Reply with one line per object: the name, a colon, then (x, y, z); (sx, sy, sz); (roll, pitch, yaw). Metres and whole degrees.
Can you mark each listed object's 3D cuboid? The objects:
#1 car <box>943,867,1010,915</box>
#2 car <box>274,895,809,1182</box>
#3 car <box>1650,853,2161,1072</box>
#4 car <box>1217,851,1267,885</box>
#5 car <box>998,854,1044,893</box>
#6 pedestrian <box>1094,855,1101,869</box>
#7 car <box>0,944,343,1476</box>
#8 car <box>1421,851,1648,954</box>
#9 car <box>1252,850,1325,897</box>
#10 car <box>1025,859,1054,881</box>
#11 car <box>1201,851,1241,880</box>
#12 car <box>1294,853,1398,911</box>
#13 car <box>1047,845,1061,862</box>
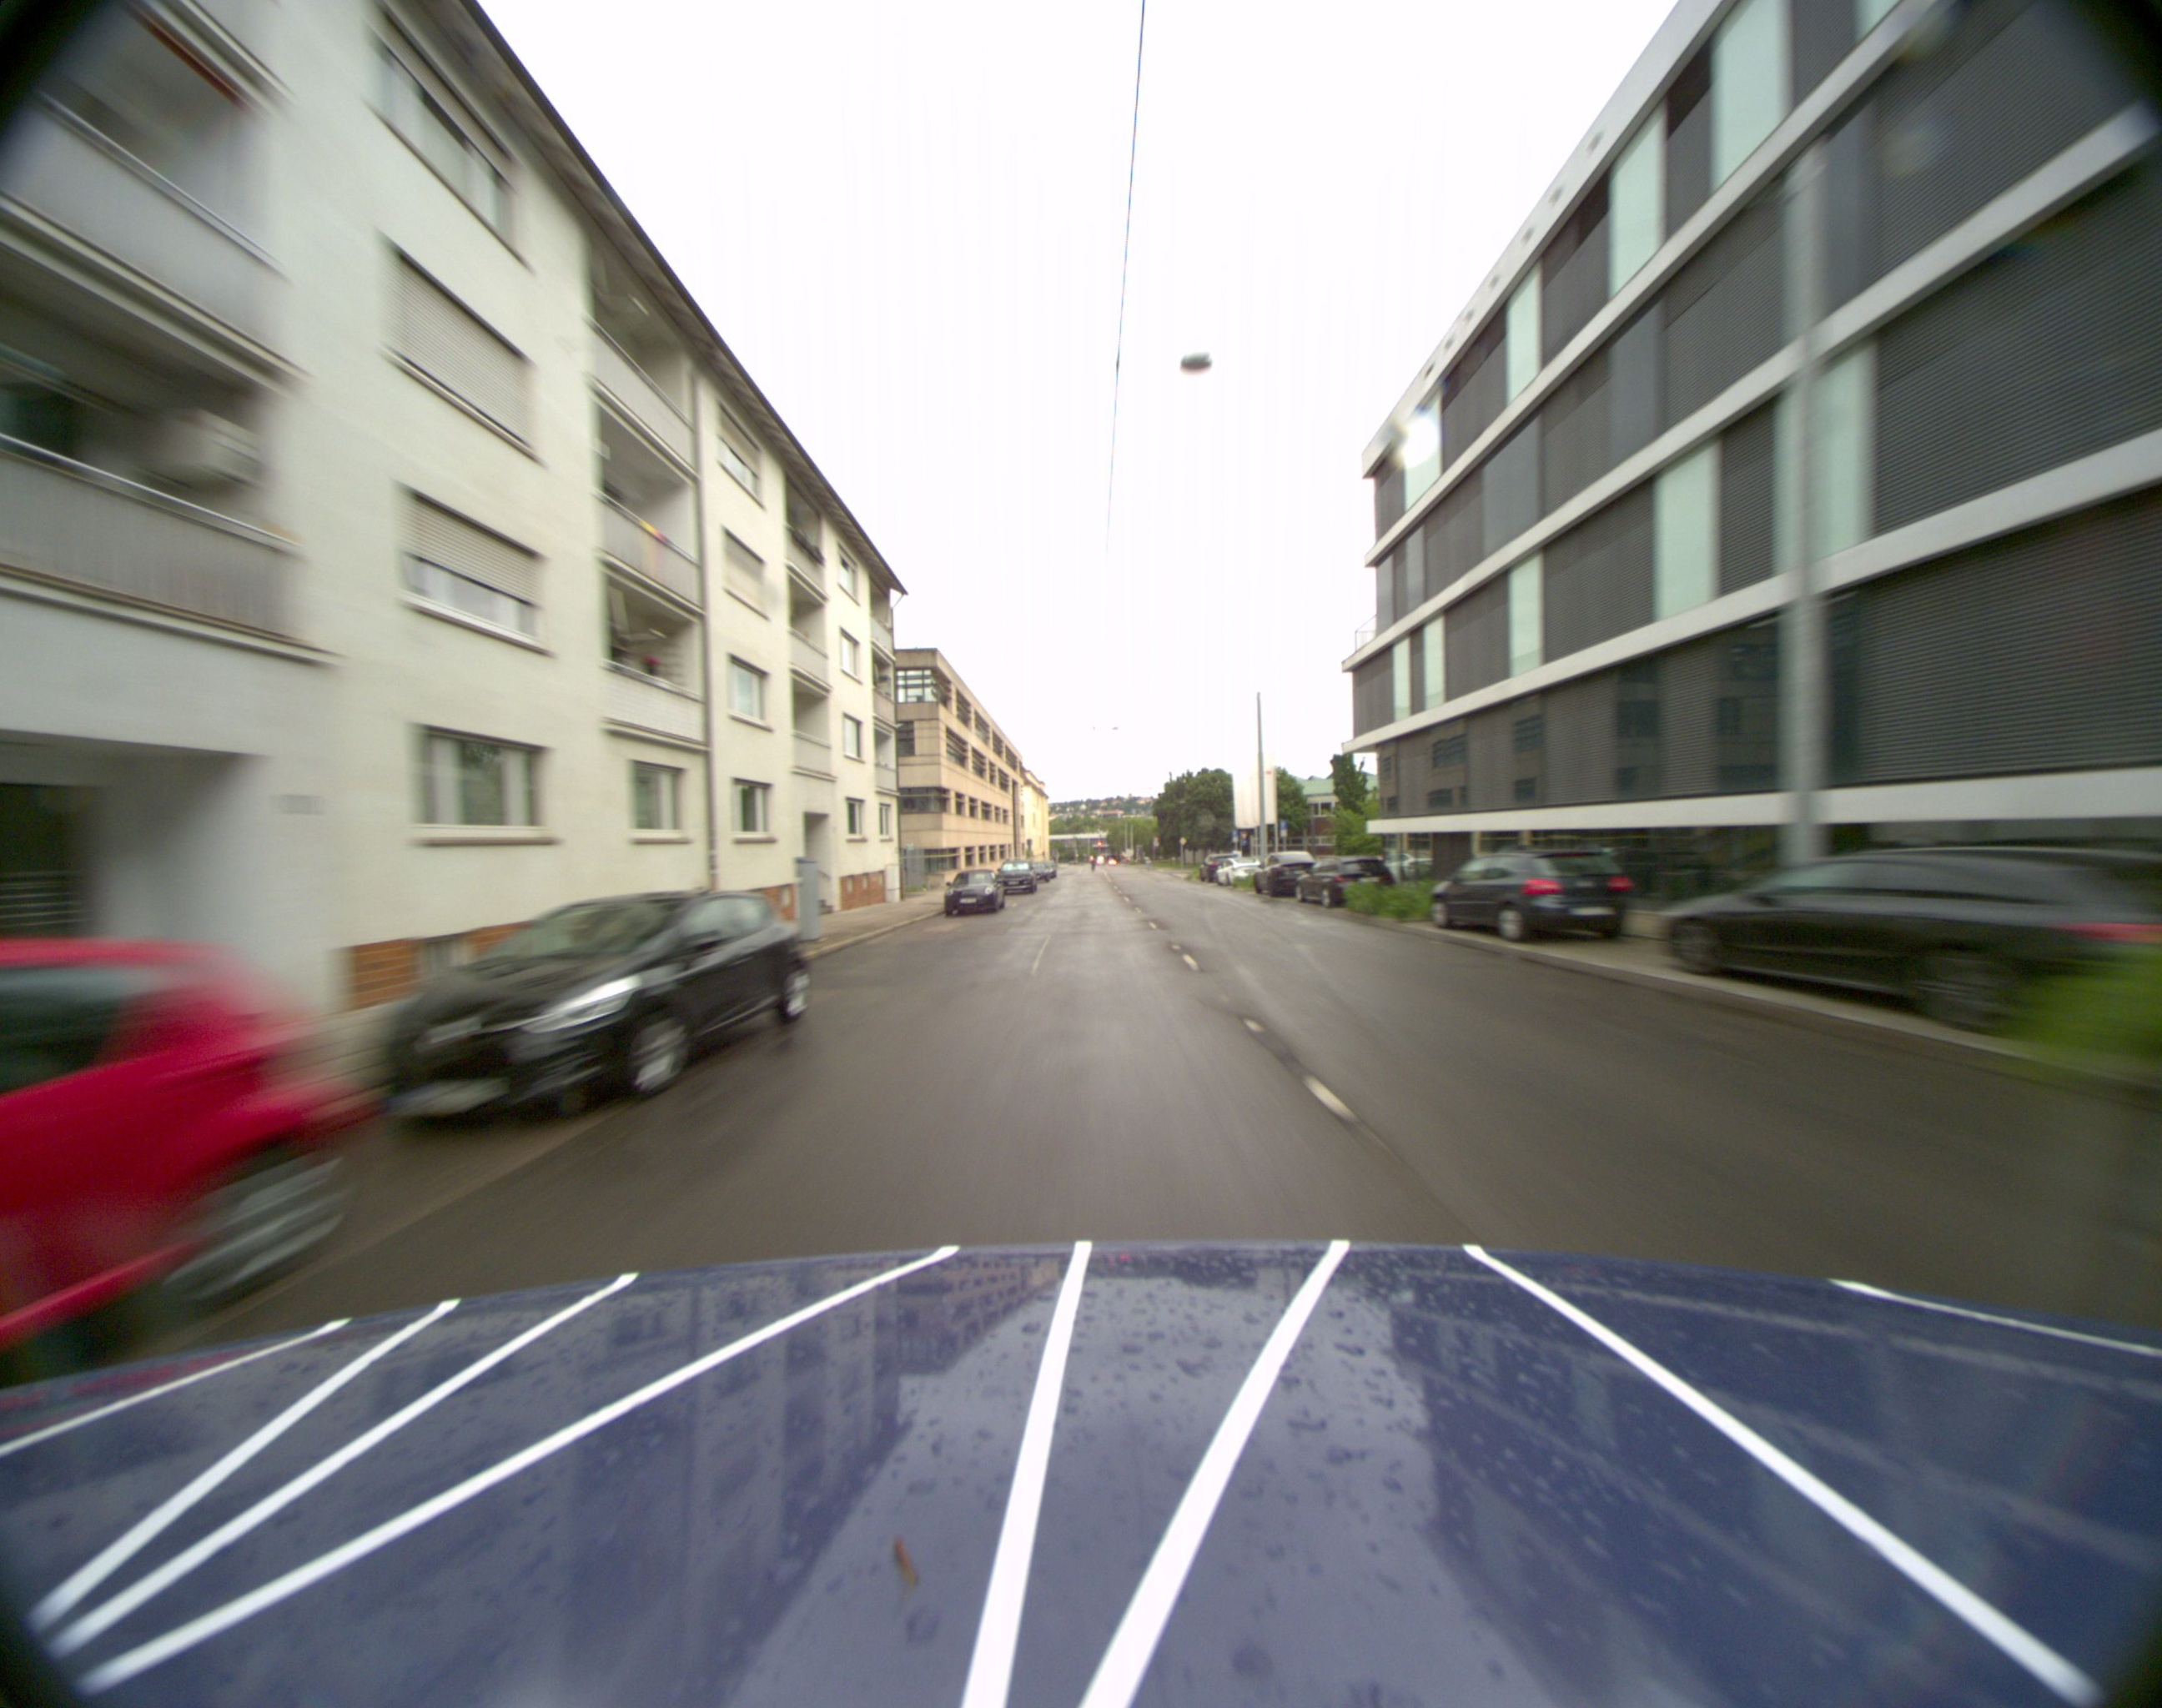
car: (-3.506, 1.214, 26.133); (1.630, 1.402, 3.778); (-3, 0, 1)
car: (-3.833, 1.185, 6.331); (1.630, 1.402, 3.778); (-3, 0, 1)
car: (7.598, 0.722, 7.080); (1.565, 1.385, 4.041); (-3, 0, 1)
car: (8.062, 0.662, 38.291); (1.642, 1.576, 4.041); (-3, 0, 1)
car: (-3.172, 1.003, 40.840); (1.911, 1.865, 4.750); (-3, 0, 1)
pedestrian: (2.007, 0.977, 92.109); (0.651, 1.651, 0.649); (-2, 0, -22)
car: (-4.030, 1.147, 1.525); (1.630, 1.448, 3.483); (-3, 0, 0)
car: (7.657, 0.715, 13.321); (1.565, 1.463, 4.041); (-3, 0, 1)
car: (7.676, 0.672, 28.476); (1.642, 1.576, 4.041); (-3, 0, 1)
car: (-3.094, 1.191, 57.384); (1.798, 1.501, 4.000); (-3, 0, 1)
car: (8.223, 0.645, 45.027); (1.642, 1.576, 4.041); (-3, 0, 1)
car: (7.675, 0.742, 22.401); (1.642, 1.463, 4.041); (-3, 0, 1)
car: (-4.194, -0.091, 118.097); (1.891, 2.446, 4.513); (-3, 0, 1)
